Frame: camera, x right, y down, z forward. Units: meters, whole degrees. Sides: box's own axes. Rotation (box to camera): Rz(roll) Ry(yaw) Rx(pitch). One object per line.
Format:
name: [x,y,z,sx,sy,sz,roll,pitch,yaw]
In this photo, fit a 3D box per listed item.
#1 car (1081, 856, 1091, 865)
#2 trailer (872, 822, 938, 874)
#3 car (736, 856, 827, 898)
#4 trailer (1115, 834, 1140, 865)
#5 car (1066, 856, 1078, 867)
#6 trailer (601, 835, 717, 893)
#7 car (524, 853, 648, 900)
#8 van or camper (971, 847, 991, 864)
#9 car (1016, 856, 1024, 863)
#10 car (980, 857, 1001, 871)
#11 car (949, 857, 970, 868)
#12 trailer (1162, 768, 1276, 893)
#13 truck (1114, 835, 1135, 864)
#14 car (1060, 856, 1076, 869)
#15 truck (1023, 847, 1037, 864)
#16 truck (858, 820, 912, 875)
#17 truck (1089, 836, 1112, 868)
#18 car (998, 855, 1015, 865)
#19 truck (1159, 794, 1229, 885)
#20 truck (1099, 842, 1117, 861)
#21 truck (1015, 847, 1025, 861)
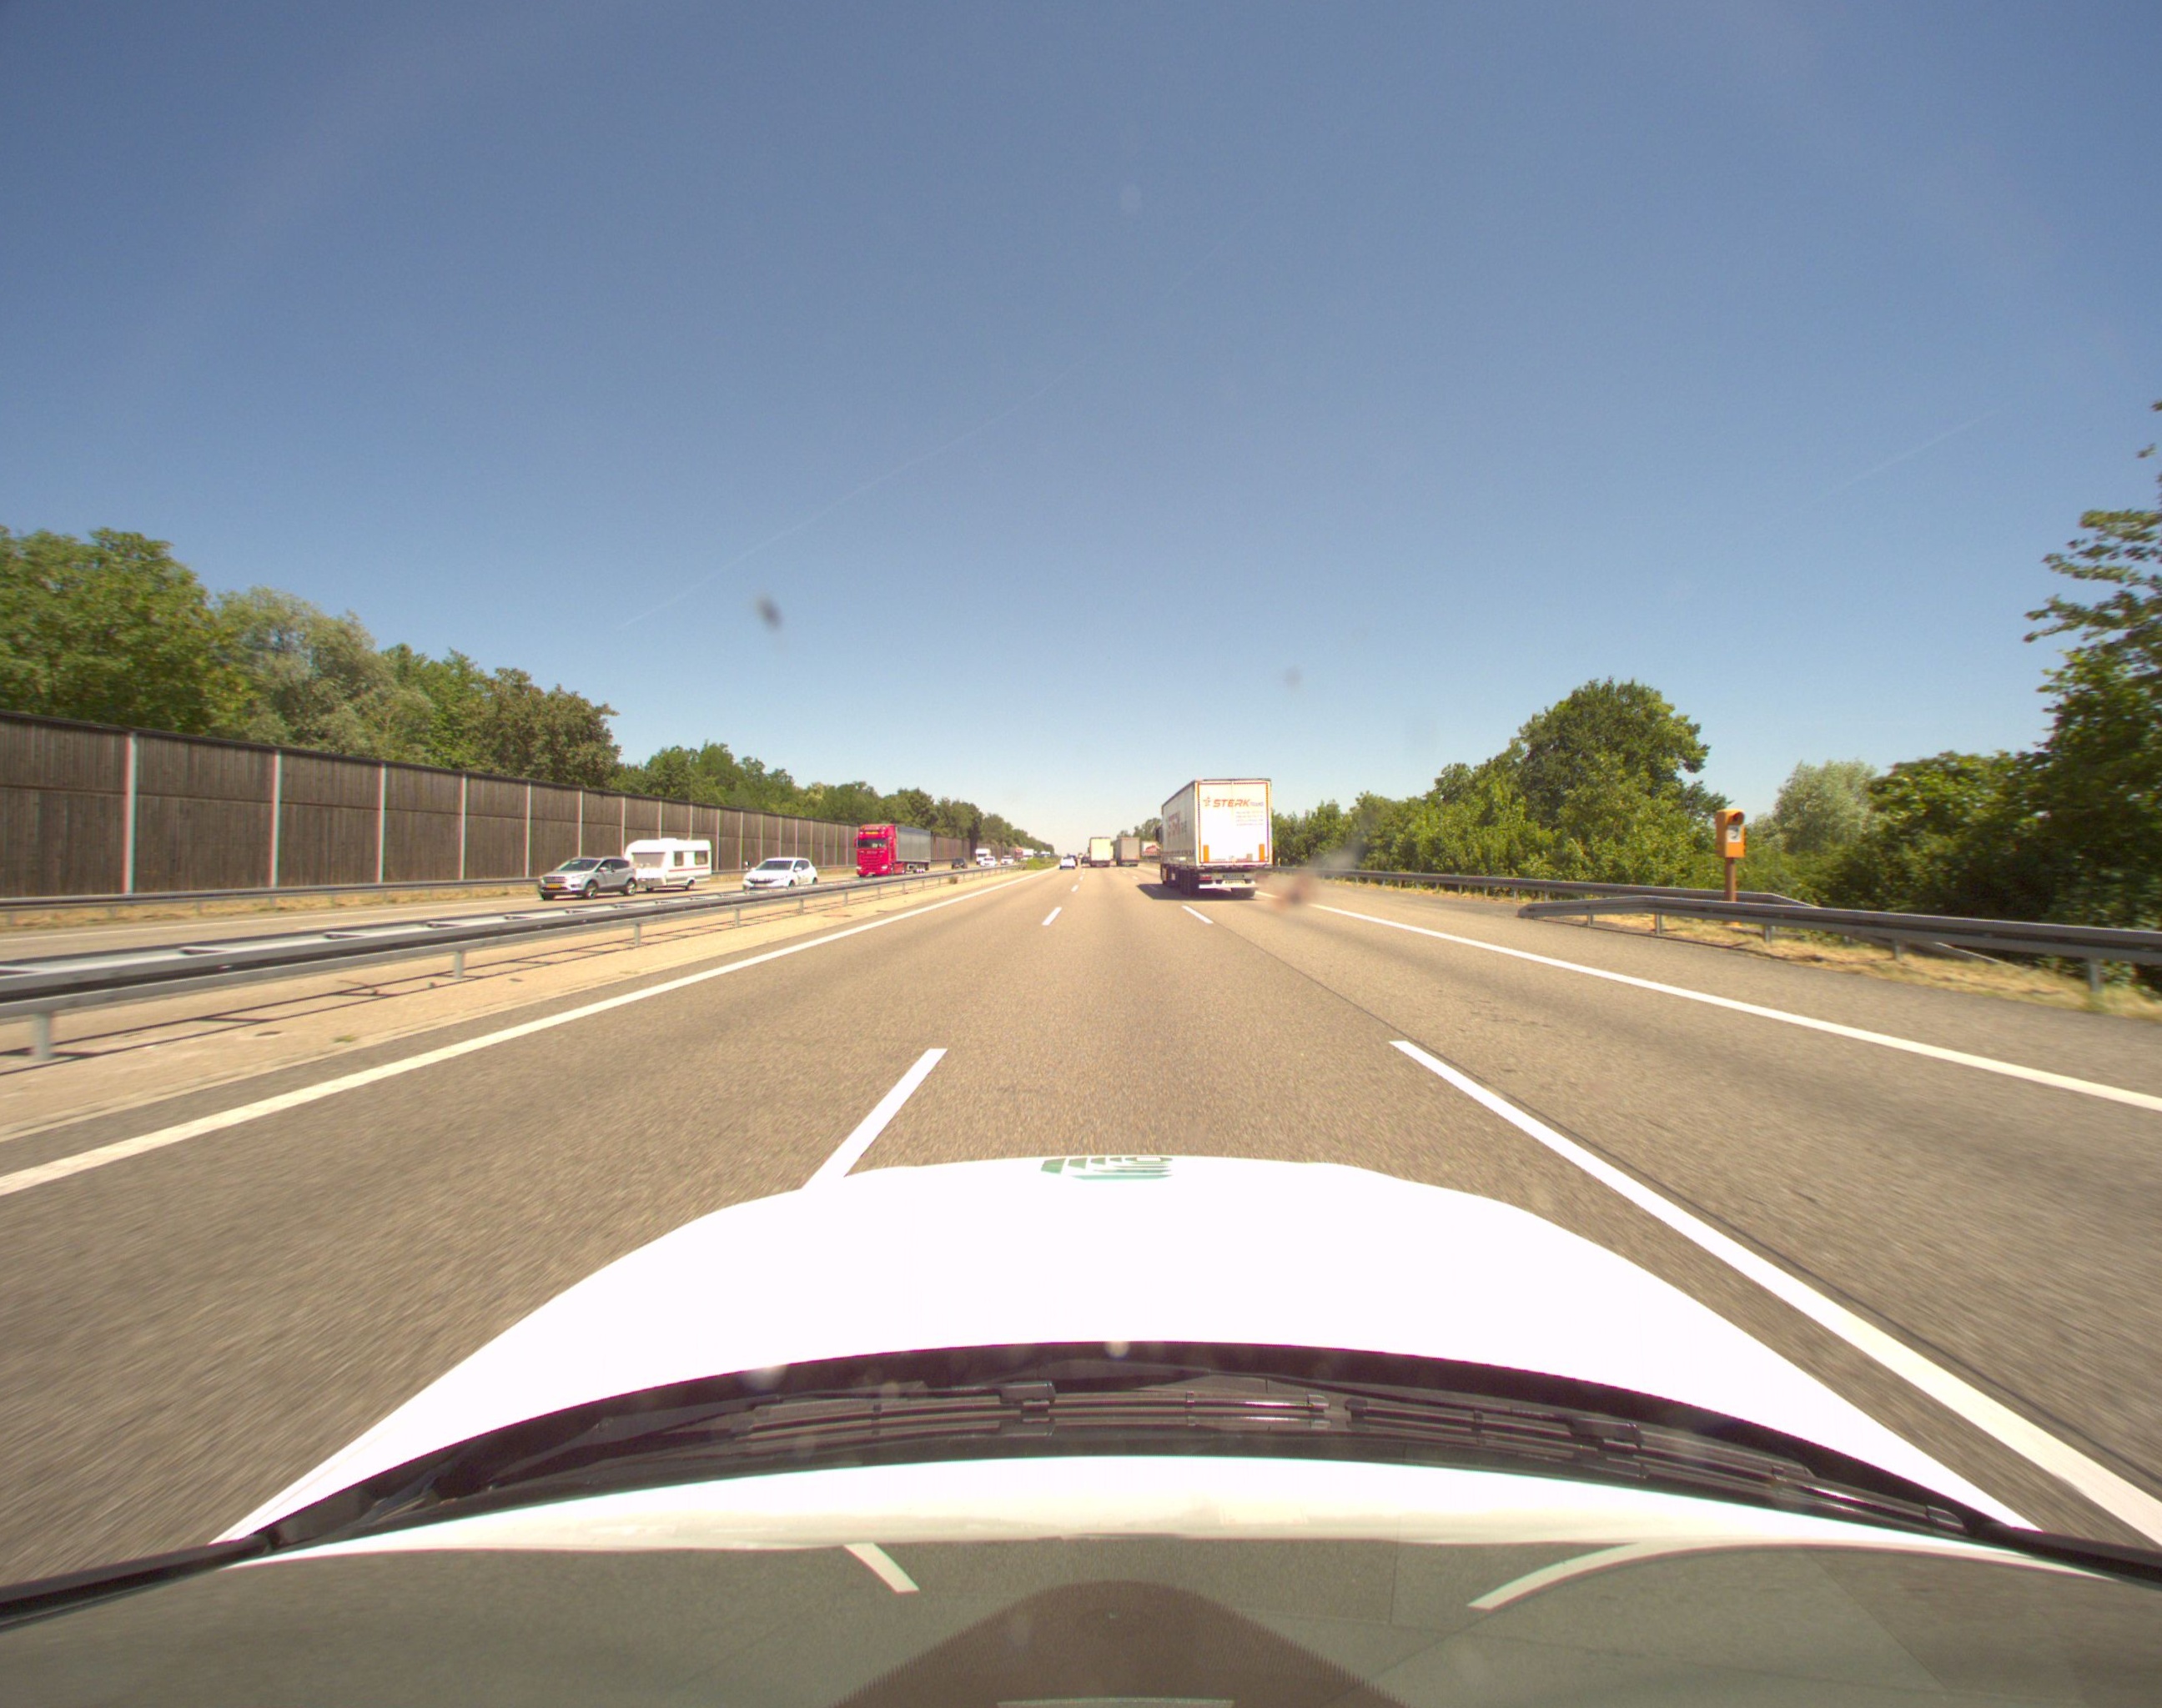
car: [0.904,1.188,148.276,1.850,1.617,3.997,0,0,-2]
trailer: [-15.129,-0.426,71.420,2.332,4.076,14.213,0,0,1]
car: [-11.813,0.852,32.451,1.892,1.521,4.420,0,0,1]
trailer: [6.689,-0.625,118.681,2.695,4.216,13.205,1,-1,-1]
car: [-1.346,1.133,126.098,1.849,1.617,3.999,0,0,0]
trailer: [-19.464,0.433,37.990,2.124,2.476,6.268,0,0,0]
car: [-19.513,0.833,32.409,1.893,1.711,4.906,0,0,0]
van or camper: [-18.230,0.338,148.710,2.550,2.914,7.373,3,0,0]
car: [-15.102,1.422,202.135,1.808,1.600,4.000,0,0,0]
car: [-10.562,1.163,95.368,1.798,1.544,4.247,0,0,1]
car: [-15.513,1.046,104.106,1.912,1.375,4.582,0,0,1]
trailer: [5.197,-0.715,33.672,2.697,4.088,14.155,0,0,1]
truck: [6.608,-0.595,124.397,2.683,4.216,7.834,1,-1,-1]
car: [-1.563,1.029,96.650,1.849,1.486,3.999,0,0,0]
truck: [-10.557,0.268,168.481,2.402,3.352,6.918,0,0,0]
truck: [-15.333,-0.455,64.227,2.349,4.076,7.155,0,0,1]
truck: [2.589,-0.237,113.075,2.699,4.086,13.466,1,-1,-1]
car: [-11.327,0.895,123.981,1.912,1.546,4.583,0,0,2]
truck: [5.387,-0.616,39.957,2.697,4.088,6.967,0,0,2]
truck: [6.572,-0.568,200.109,3.366,4.304,11.436,3,0,-3]
truck: [-18.545,-0.041,248.034,2.476,4.087,4.681,-1,-1,3]
